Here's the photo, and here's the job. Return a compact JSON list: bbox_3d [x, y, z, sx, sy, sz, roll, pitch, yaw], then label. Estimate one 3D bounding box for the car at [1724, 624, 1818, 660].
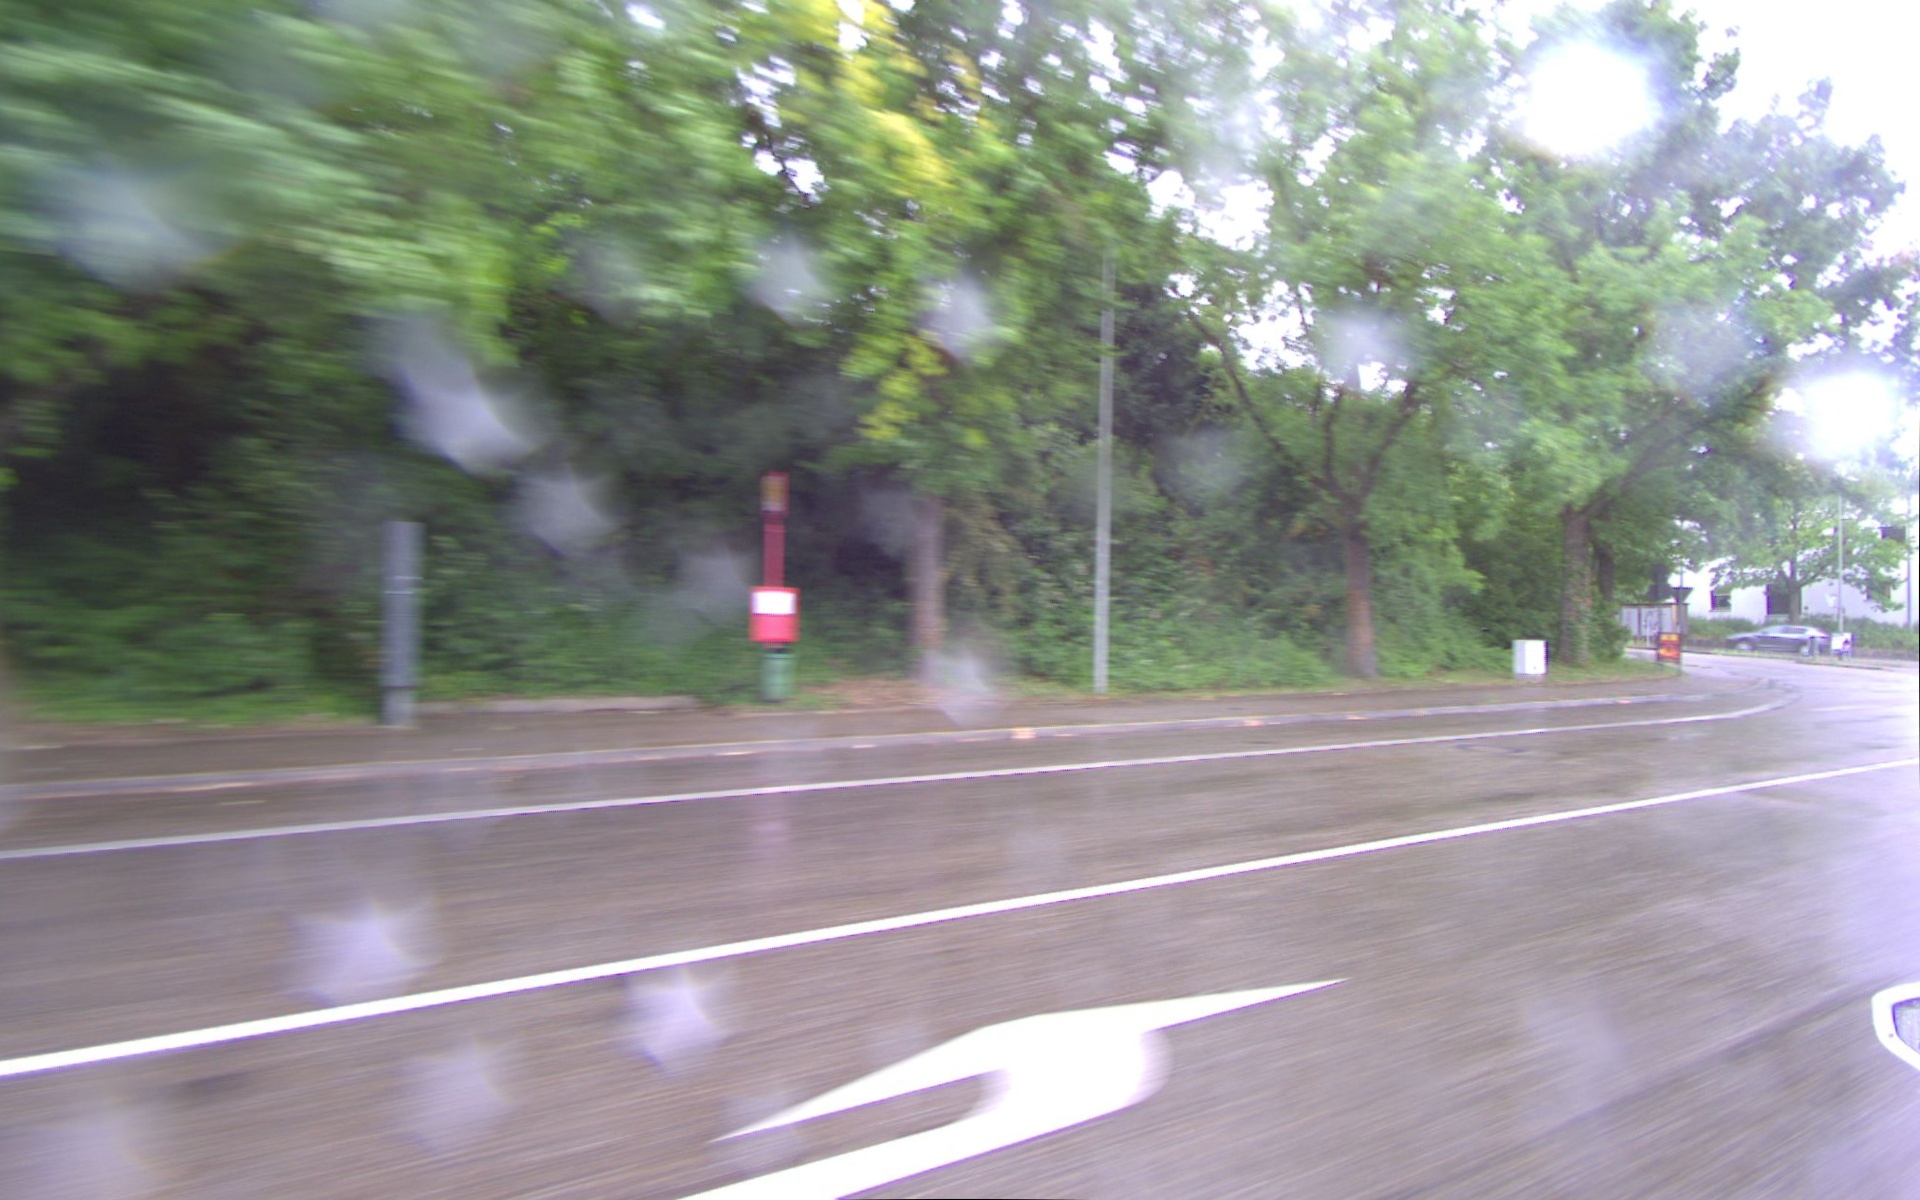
[{"bbox_3d":[44.569,2.285,55.258,3.939,1.786,1.792,1,0,40],"label":"car"}]
